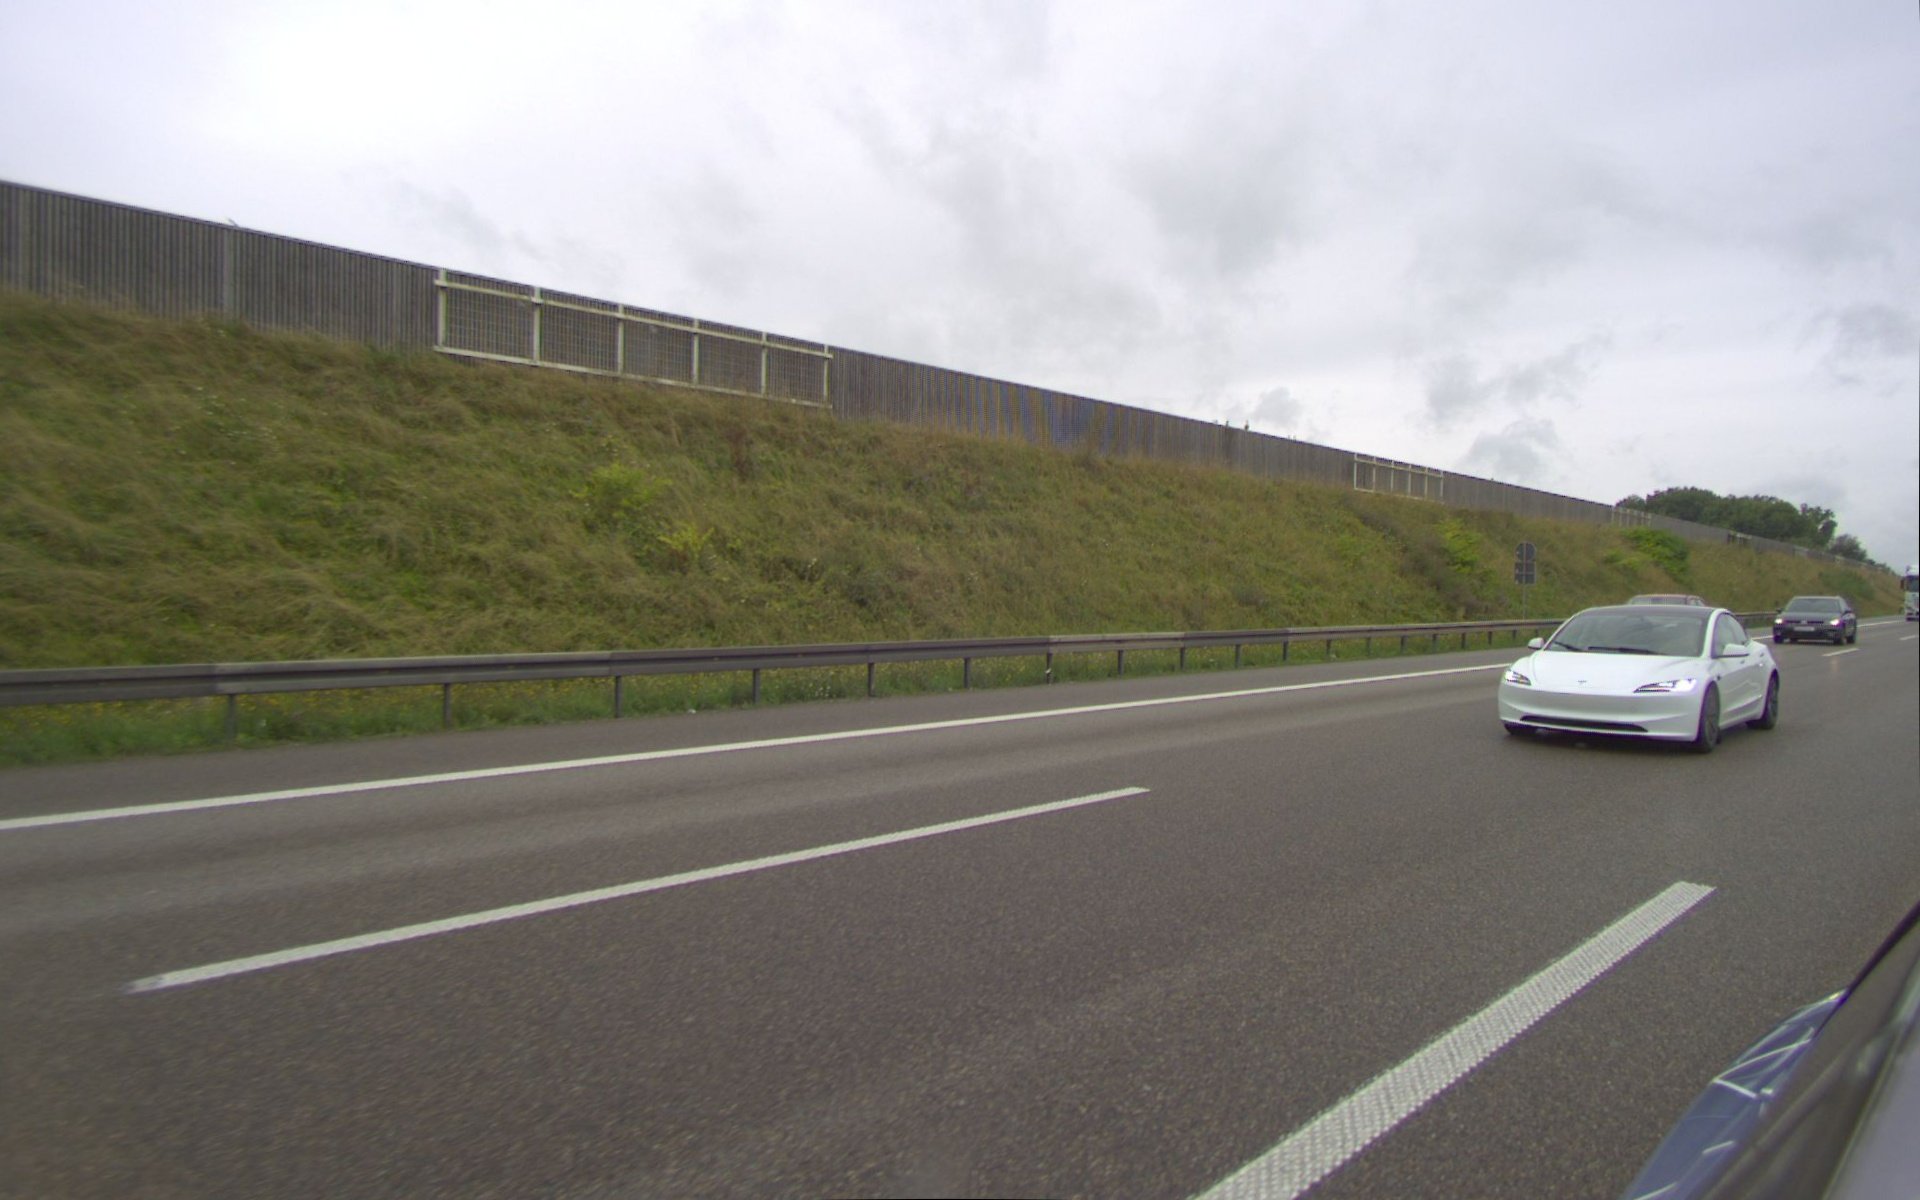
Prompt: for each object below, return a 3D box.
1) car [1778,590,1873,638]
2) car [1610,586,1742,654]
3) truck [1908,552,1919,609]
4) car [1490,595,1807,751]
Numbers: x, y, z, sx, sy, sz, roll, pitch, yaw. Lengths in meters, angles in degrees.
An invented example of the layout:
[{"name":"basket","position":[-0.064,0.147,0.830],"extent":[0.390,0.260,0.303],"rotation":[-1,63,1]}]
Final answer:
[{"name":"car","position":[29.752,0.446,34.756],"extent":[4.409,1.508,1.927],"rotation":[-1,0,-42]},{"name":"car","position":[17.947,0.433,25.301],"extent":[3.931,1.554,1.876],"rotation":[-1,0,-42]},{"name":"truck","position":[70.864,-1.412,73.001],"extent":[6.838,4.077,3.085],"rotation":[-1,0,-42]},{"name":"car","position":[7.962,0.661,11.509],"extent":[4.730,1.380,1.876],"rotation":[-1,0,-41]}]
